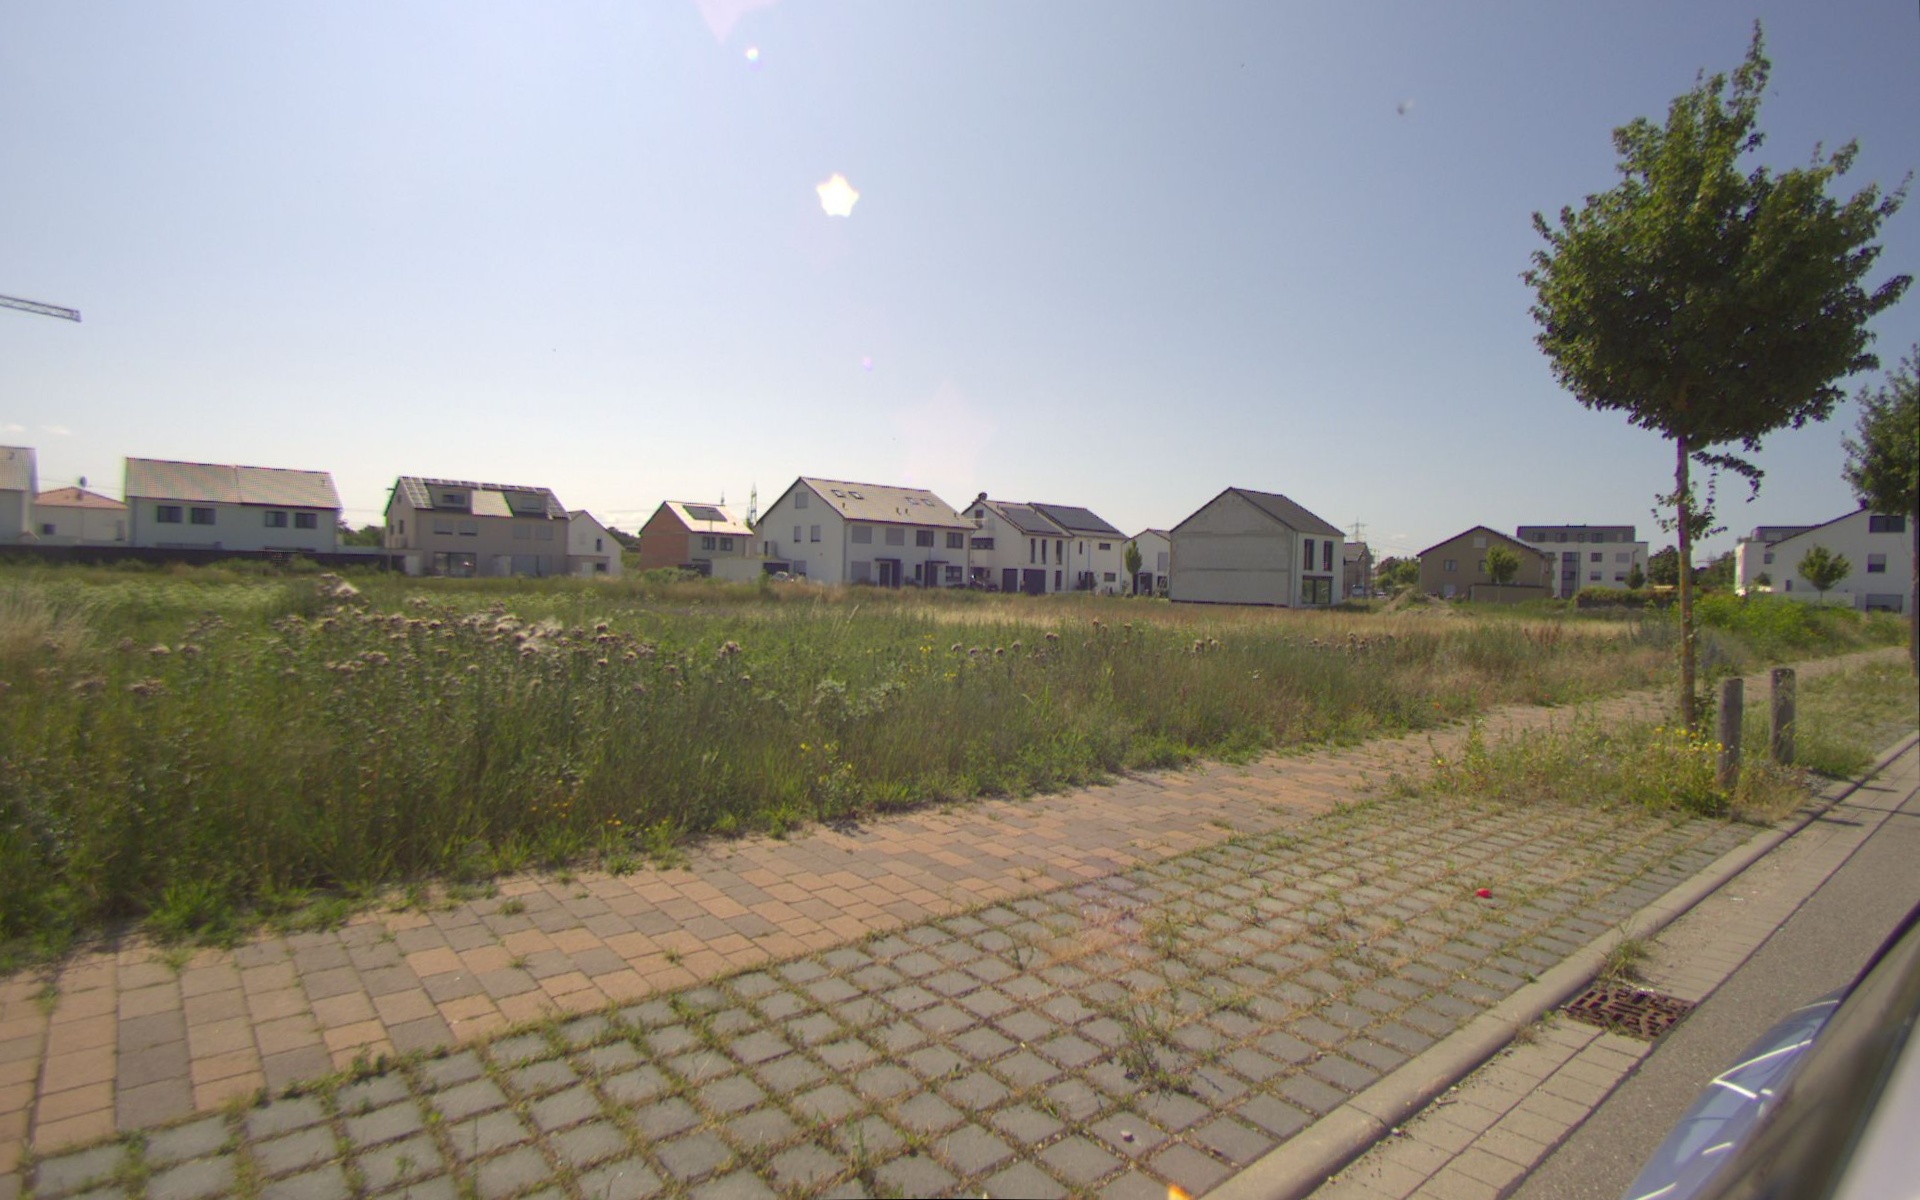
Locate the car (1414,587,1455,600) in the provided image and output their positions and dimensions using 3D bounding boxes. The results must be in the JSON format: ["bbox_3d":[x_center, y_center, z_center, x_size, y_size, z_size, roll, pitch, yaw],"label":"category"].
[{"bbox_3d":[54.954,-0.764,117.207,3.984,1.471,1.610,2,1,41],"label":"car"}]
